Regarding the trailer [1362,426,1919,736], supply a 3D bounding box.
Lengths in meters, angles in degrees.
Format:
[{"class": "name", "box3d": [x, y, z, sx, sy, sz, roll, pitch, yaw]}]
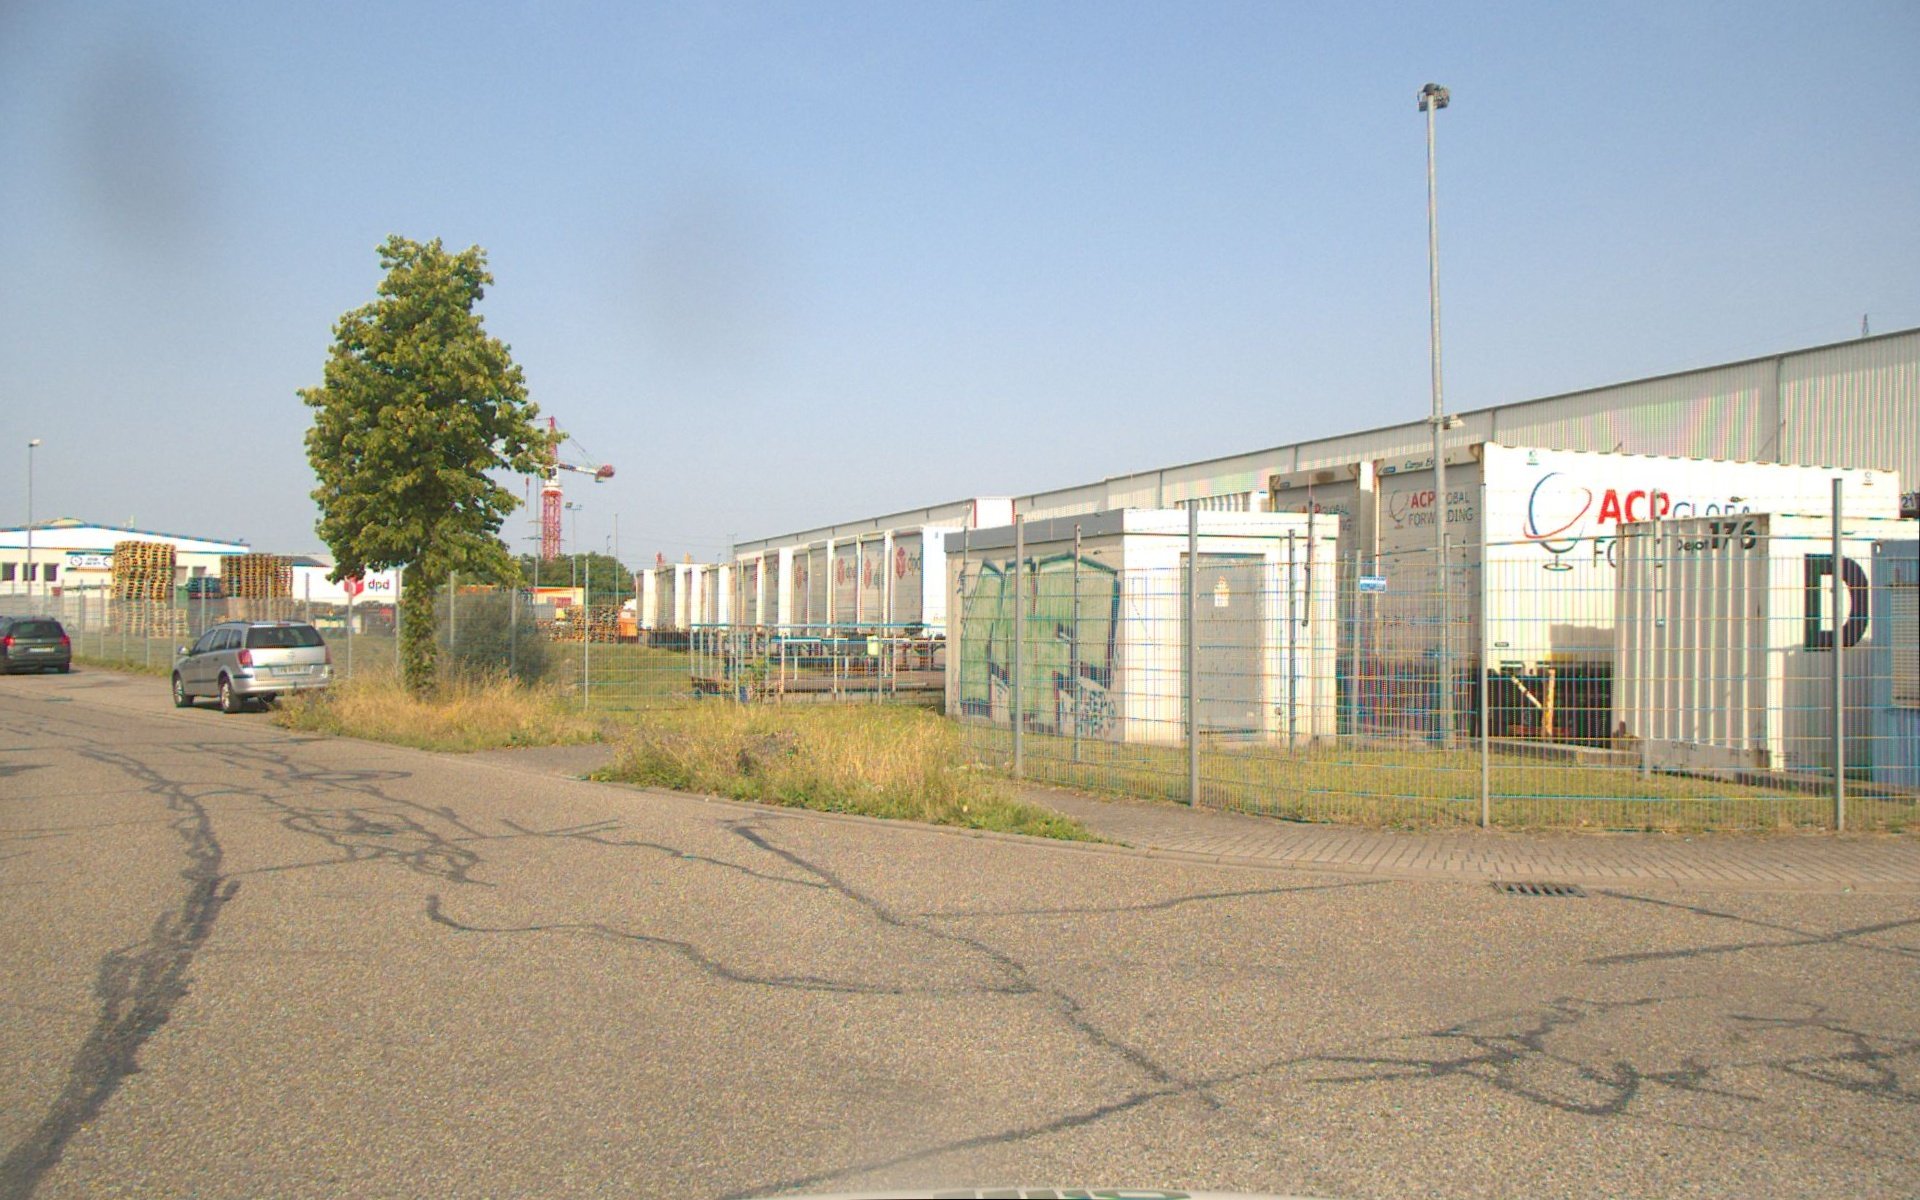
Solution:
[{"class": "trailer", "box3d": [10.174, -0.115, 23.827, 8.409, 3.963, 2.759, 1, -3, -20]}]

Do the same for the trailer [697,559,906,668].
[{"class": "trailer", "box3d": [-6.384, 0.579, 66.949, 7.852, 3.962, 2.757, 3, -1, -22]}]

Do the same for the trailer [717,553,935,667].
[{"class": "trailer", "box3d": [-5.167, 0.421, 63.942, 7.852, 3.962, 2.757, 3, -1, -22]}]

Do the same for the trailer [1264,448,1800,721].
[{"class": "trailer", "box3d": [9.289, -0.209, 26.767, 8.412, 3.962, 2.759, 0, -1, -21]}]

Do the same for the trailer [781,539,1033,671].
[{"class": "trailer", "box3d": [-1.751, 0.214, 55.698, 7.921, 3.962, 2.757, 3, -1, -22]}]

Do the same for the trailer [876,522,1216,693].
[{"class": "trailer", "box3d": [2.286, 0.267, 43.219, 8.417, 3.962, 2.757, 3, -1, -22]}]

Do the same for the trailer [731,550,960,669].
[{"class": "trailer", "box3d": [-4.223, 0.388, 61.127, 7.852, 3.962, 2.757, 3, -1, -22]}]

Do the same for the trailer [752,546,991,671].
[{"class": "trailer", "box3d": [-3.103, 0.343, 58.345, 7.852, 3.962, 2.757, 3, -1, -22]}]

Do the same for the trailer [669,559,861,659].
[{"class": "trailer", "box3d": [-8.582, 0.431, 73.002, 7.852, 3.962, 2.757, 3, -1, -22]}]

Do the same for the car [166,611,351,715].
[{"class": "car", "box3d": [-12.491, 1.043, 29.297, 1.788, 1.654, 4.383, -1, 1, -41]}]

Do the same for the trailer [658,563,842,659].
[{"class": "trailer", "box3d": [-9.666, 0.536, 76.183, 7.852, 3.962, 2.757, 3, -1, -22]}]

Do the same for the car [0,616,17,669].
[{"class": "car", "box3d": [-29.190, 1.243, 48.659, 1.705, 1.481, 4.124, -1, 1, -41]}]

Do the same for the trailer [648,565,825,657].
[{"class": "trailer", "box3d": [-10.647, 0.528, 78.938, 7.852, 3.962, 2.757, 3, -1, -22]}]

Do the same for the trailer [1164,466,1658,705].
[{"class": "trailer", "box3d": [8.113, -0.108, 29.534, 8.609, 3.827, 2.772, 2, -2, -22]}]

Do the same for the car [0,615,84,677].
[{"class": "car", "box3d": [-25.158, 1.202, 44.666, 1.706, 1.541, 3.941, -1, 1, -42]}]

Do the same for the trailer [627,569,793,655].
[{"class": "trailer", "box3d": [-12.761, 0.650, 84.543, 7.852, 3.962, 2.724, 3, -1, -22]}]

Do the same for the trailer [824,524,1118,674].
[{"class": "trailer", "box3d": [0.363, 0.035, 49.025, 8.192, 3.962, 2.757, 3, -1, -22]}]

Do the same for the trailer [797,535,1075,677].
[{"class": "trailer", "box3d": [-0.723, 0.252, 51.869, 8.192, 3.962, 2.757, 3, -1, -22]}]

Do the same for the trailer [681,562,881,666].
[{"class": "trailer", "box3d": [-7.585, 0.626, 70.127, 7.852, 3.962, 2.757, 3, -1, -22]}]

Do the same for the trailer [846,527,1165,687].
[{"class": "trailer", "box3d": [1.313, 0.269, 46.190, 8.417, 3.962, 2.757, 3, -1, -22]}]
